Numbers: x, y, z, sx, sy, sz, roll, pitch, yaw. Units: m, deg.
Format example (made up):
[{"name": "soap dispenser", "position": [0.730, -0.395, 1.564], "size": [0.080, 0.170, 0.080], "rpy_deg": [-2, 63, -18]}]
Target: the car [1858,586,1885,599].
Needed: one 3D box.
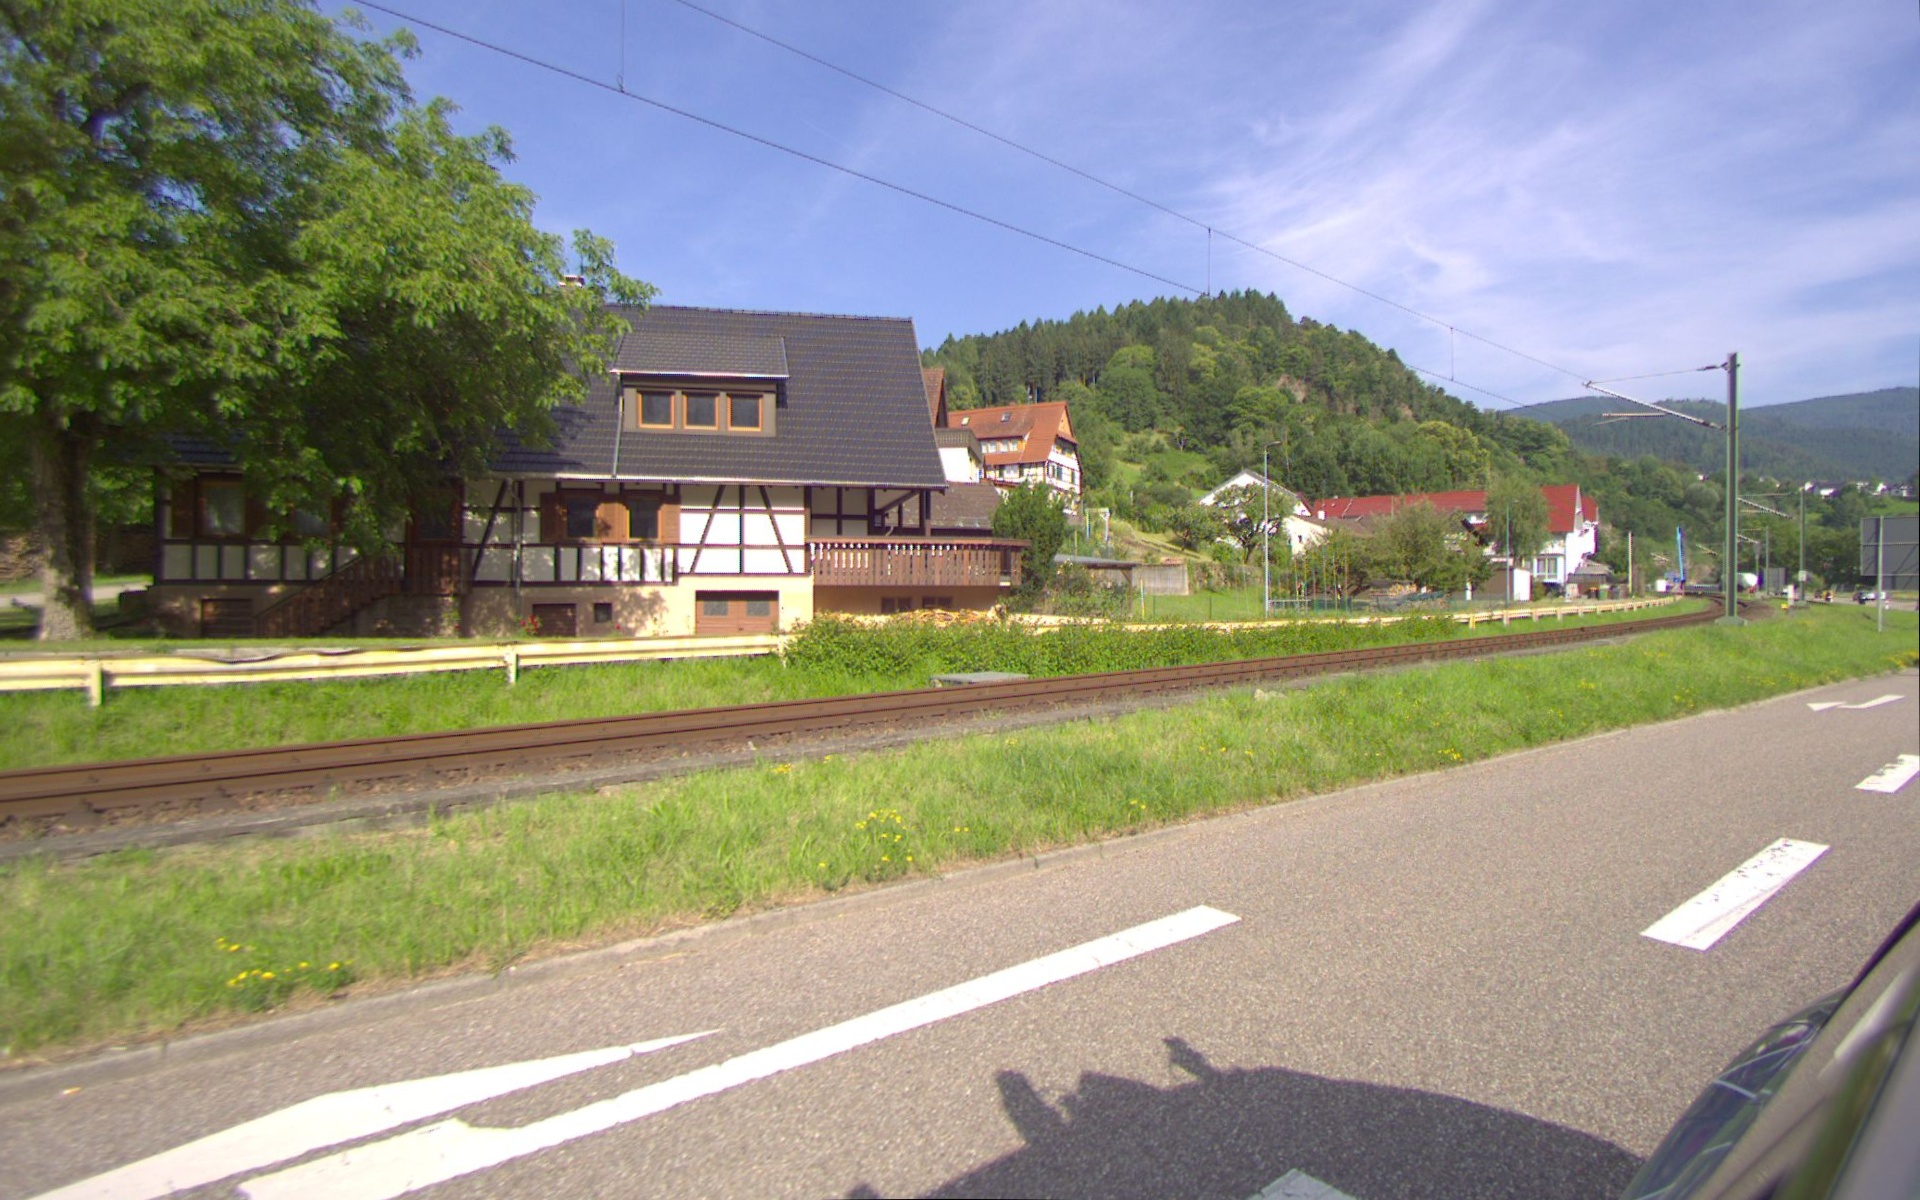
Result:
[{"name": "car", "position": [127.743, -1.069, 141.892], "size": [1.853, 1.683, 3.960], "rpy_deg": [-1, 0, 29]}]

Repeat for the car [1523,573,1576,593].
[{"name": "car", "position": [55.649, -1.608, 95.563], "size": [3.988, 1.794, 1.802], "rpy_deg": [0, 0, 45]}]

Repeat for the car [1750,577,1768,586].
[{"name": "car", "position": [157.678, -3.708, 199.724], "size": [1.982, 1.683, 3.960], "rpy_deg": [-1, 0, 28]}]

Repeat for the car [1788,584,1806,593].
[{"name": "car", "position": [148.298, -2.013, 179.333], "size": [1.710, 1.683, 3.957], "rpy_deg": [-1, 0, 30]}]

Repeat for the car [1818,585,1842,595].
[{"name": "car", "position": [137.704, -1.570, 160.205], "size": [1.981, 1.683, 3.961], "rpy_deg": [-1, 0, 28]}]
